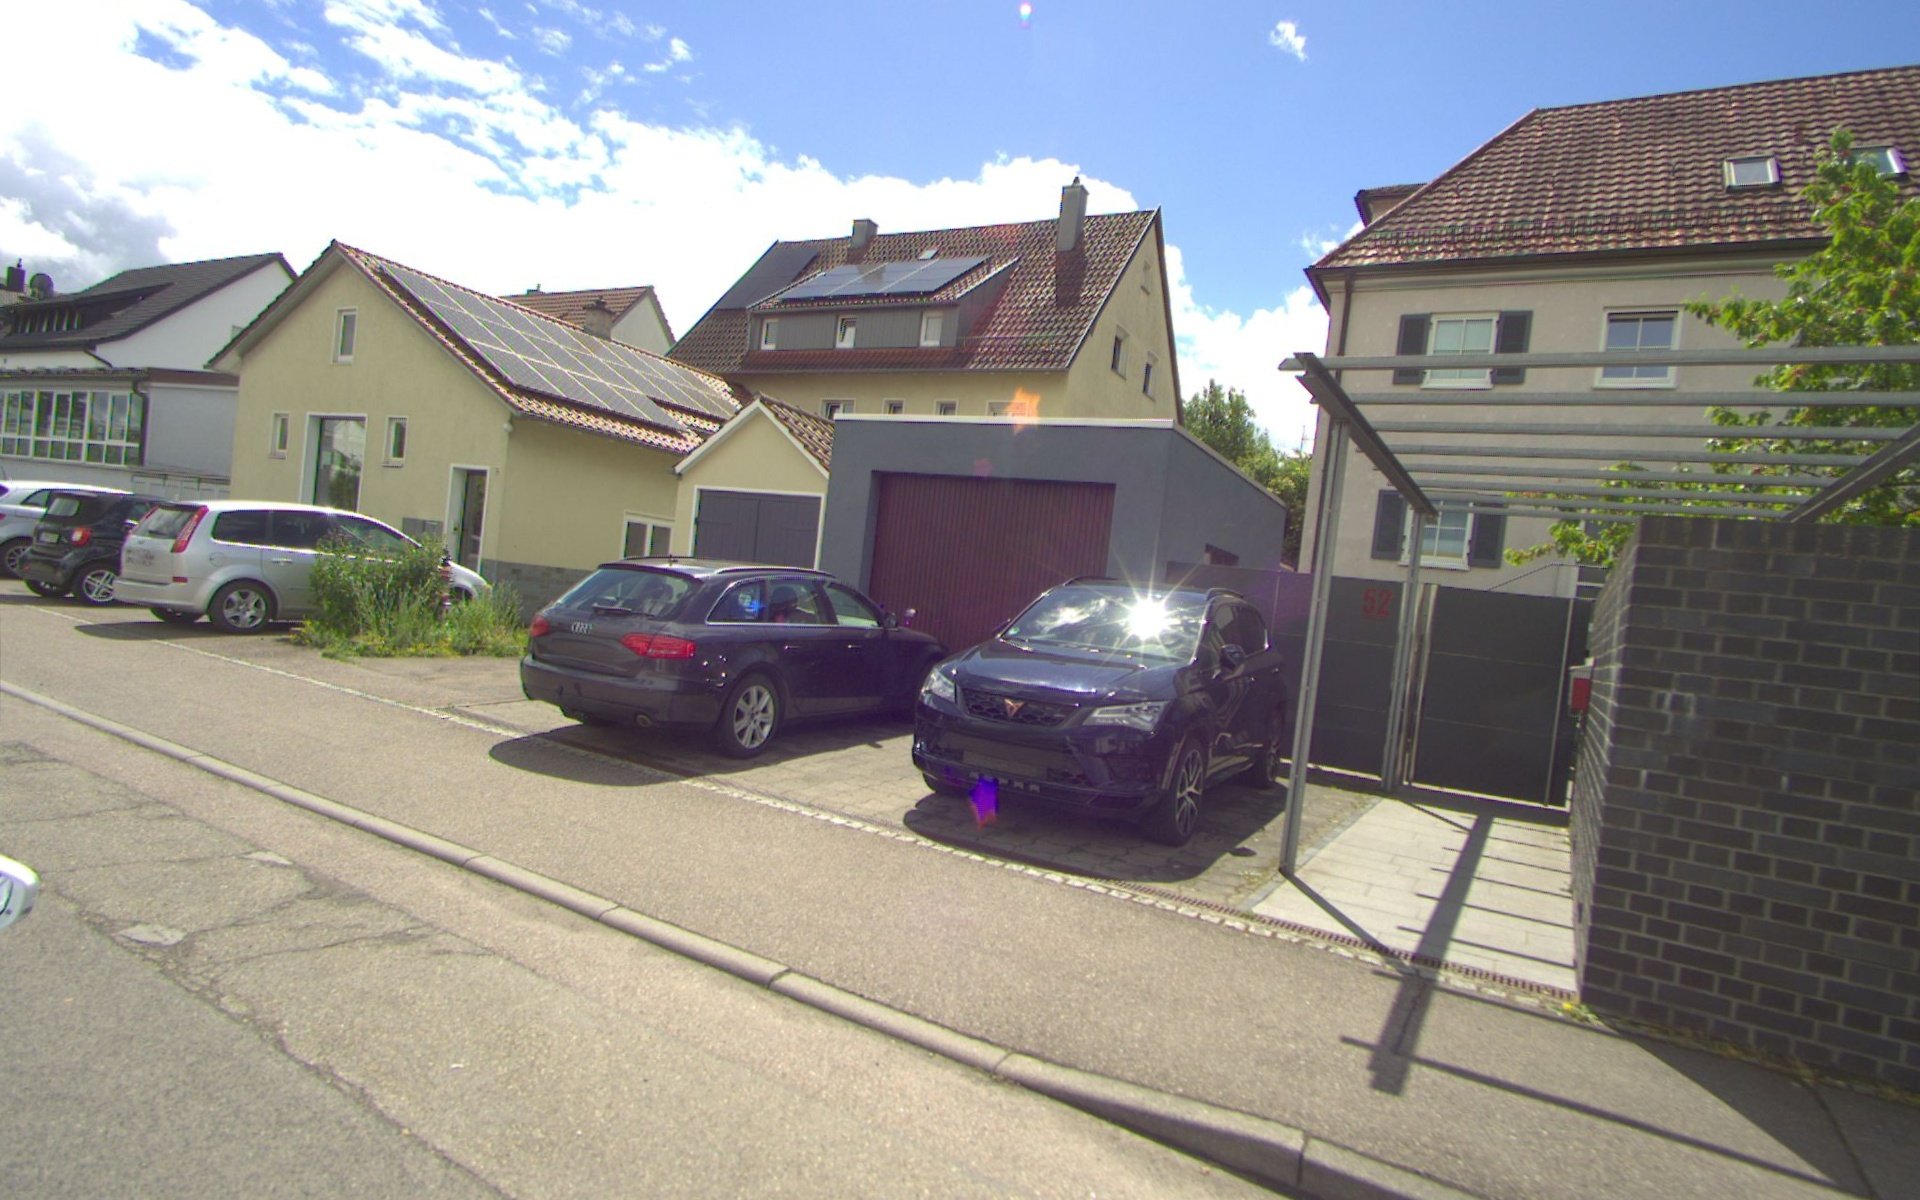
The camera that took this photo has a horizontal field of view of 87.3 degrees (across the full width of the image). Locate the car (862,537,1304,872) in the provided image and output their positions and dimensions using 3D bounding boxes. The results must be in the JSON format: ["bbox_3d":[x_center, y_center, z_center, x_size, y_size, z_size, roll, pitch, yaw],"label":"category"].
[{"bbox_3d":[1.203,0.610,7.464,1.822,1.635,4.009,7,1,28],"label":"car"}]

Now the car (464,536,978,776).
[{"bbox_3d":[-1.745,0.351,8.904,1.940,1.426,4.409,6,3,28],"label":"car"}]

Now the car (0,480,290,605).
[{"bbox_3d":[-11.890,-0.789,14.702,1.940,1.546,2.889,6,3,28],"label":"car"}]

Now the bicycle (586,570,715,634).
[{"bbox_3d":[-5.863,0.063,19.271,0.694,1.026,2.574,7,0,27],"label":"bicycle"}]

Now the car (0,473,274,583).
[{"bbox_3d":[-15.087,-1.251,17.846,1.940,1.630,4.409,6,3,28],"label":"car"}]

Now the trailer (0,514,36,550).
[{"bbox_3d":[-25.875,-1.895,25.116,1.628,0.818,3.821,6,0,29],"label":"trailer"}]

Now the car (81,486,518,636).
[{"bbox_3d":[-8.419,-0.458,13.305,1.940,1.546,4.409,6,3,28],"label":"car"}]
